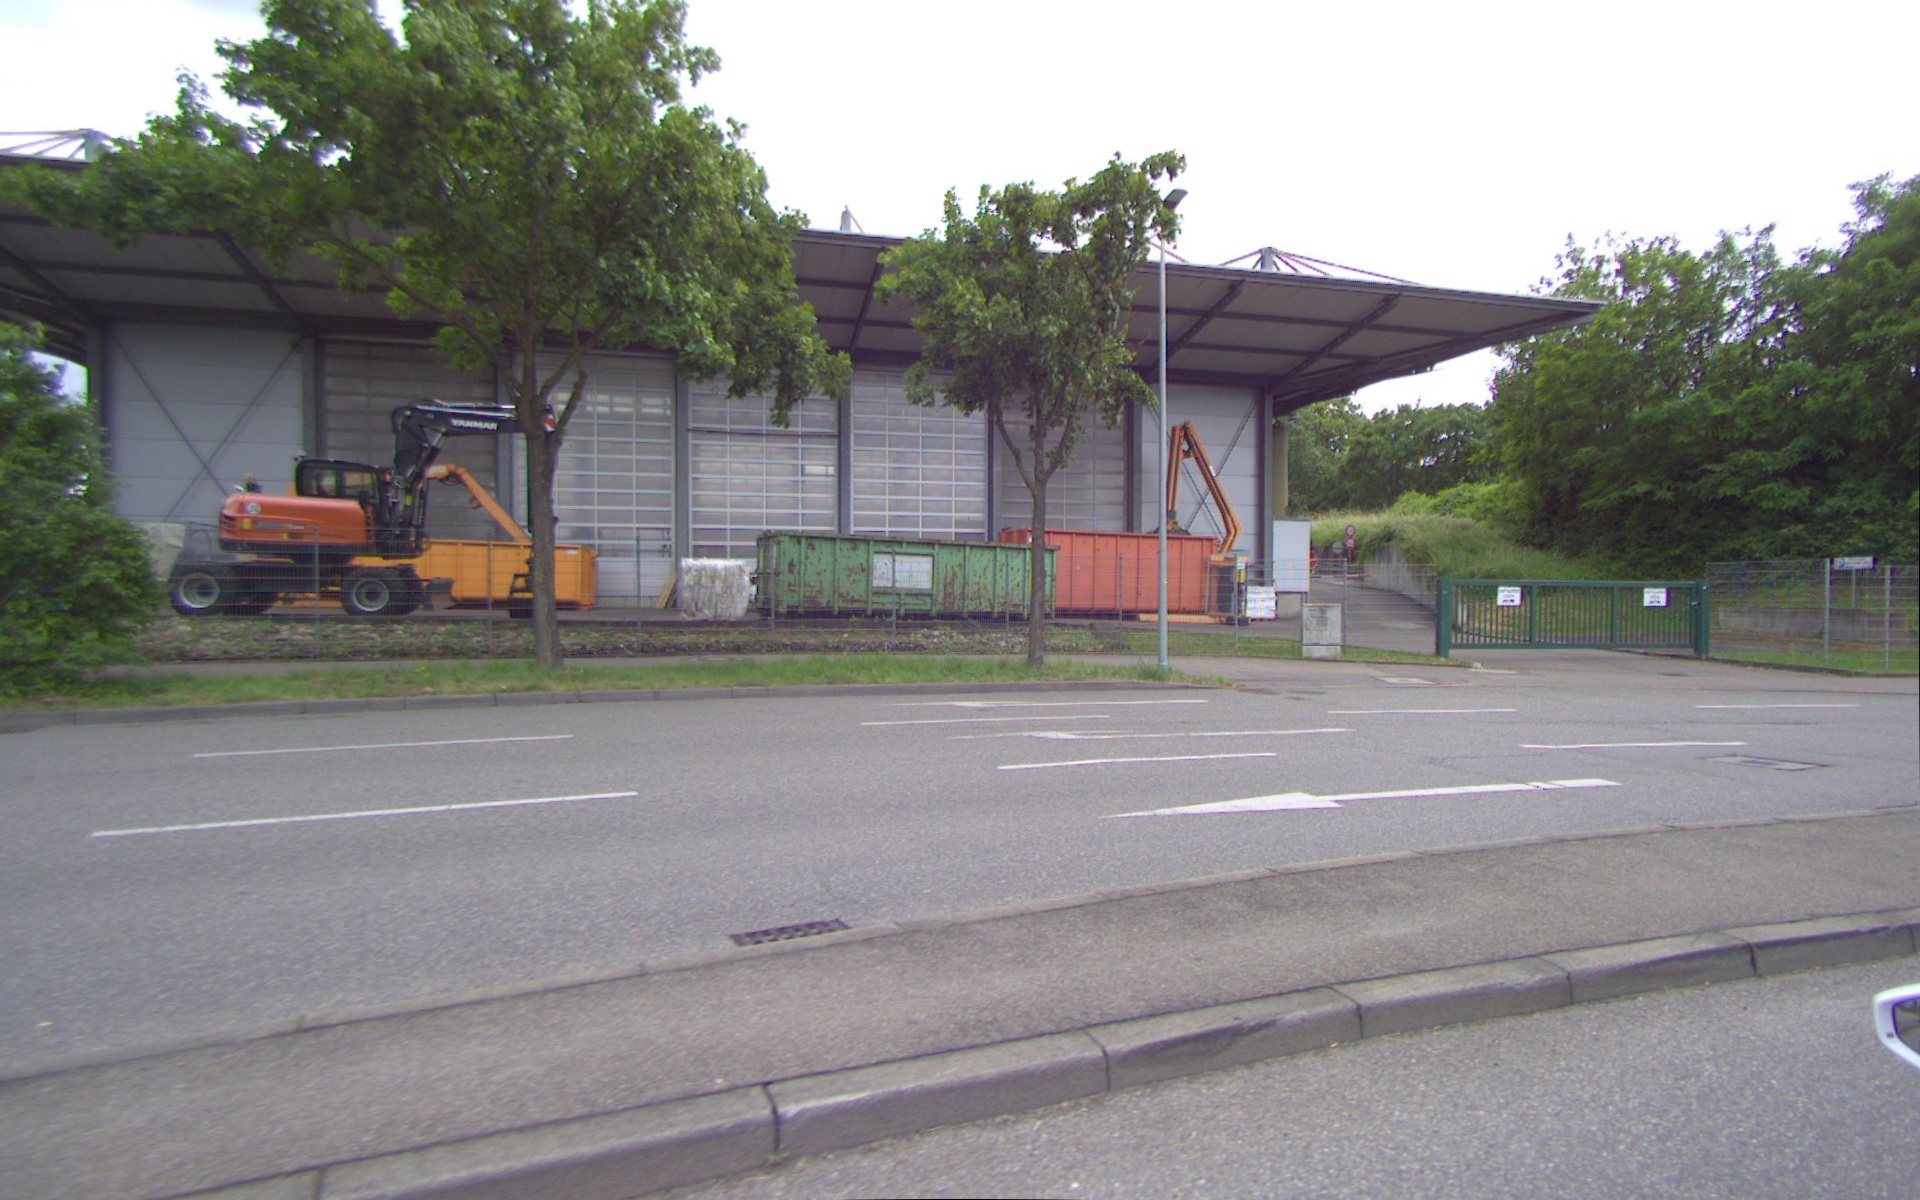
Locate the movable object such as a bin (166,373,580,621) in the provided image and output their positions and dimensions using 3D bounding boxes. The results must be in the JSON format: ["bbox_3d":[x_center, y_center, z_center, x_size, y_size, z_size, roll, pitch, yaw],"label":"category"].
[{"bbox_3d":[-10.795,-1.732,19.323,6.456,4.146,2.720,0,0,-22],"label":"movable object such as a bin"}]
